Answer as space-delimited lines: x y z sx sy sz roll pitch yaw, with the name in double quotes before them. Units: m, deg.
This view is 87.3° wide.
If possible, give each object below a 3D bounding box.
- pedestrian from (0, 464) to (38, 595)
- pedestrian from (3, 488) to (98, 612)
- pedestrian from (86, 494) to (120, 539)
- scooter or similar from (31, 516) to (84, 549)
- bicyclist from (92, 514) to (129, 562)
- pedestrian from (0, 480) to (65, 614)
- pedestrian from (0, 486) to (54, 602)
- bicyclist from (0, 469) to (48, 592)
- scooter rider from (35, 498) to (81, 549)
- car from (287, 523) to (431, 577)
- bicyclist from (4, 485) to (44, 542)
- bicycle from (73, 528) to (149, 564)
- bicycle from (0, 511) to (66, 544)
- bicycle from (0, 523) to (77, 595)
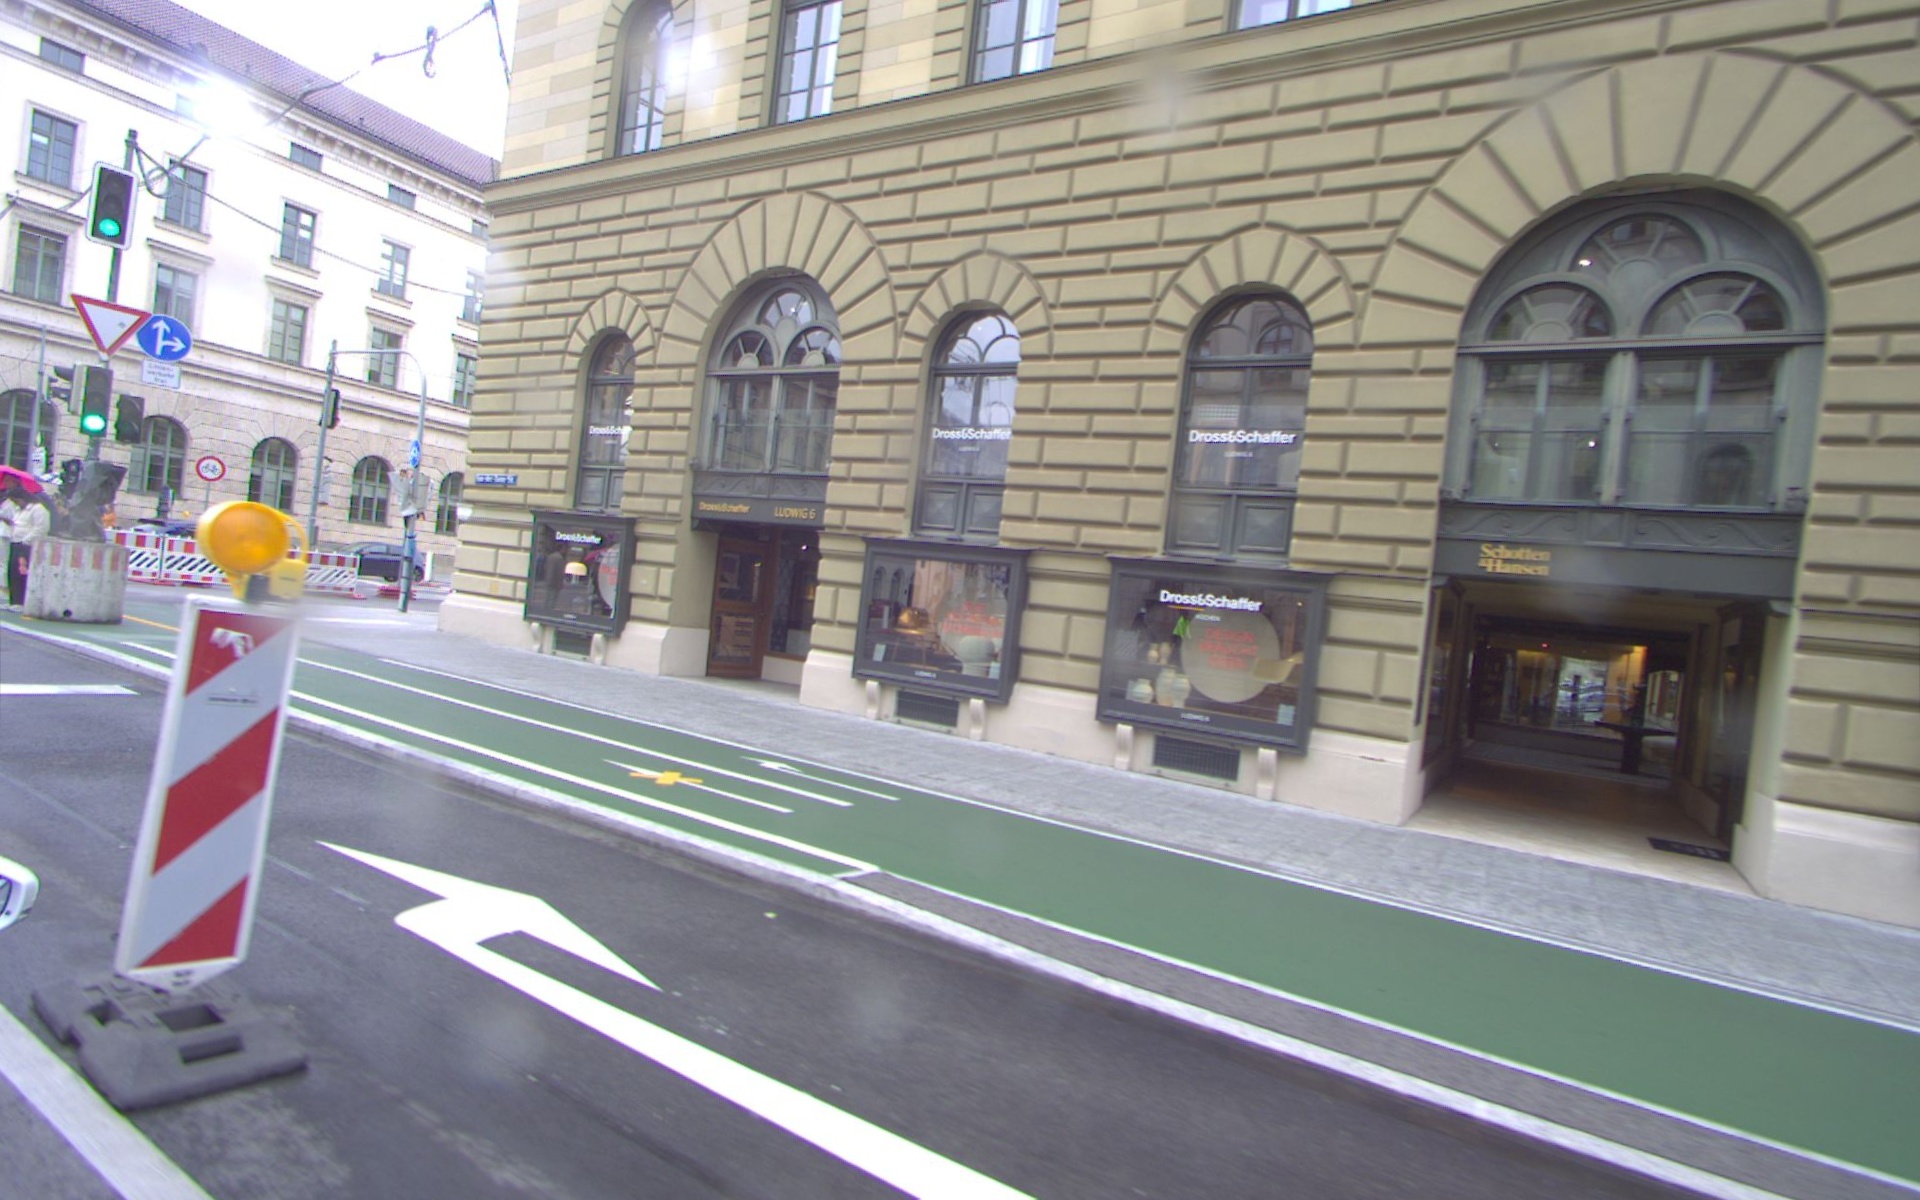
"pedestrian" -14.497 -1.086 15.099 0.631 1.907 0.703 7 0 36
"pedestrian" -12.616 -0.691 13.958 0.671 1.586 0.703 7 0 34
"pedestrian" -34.970 -3.406 41.067 0.806 1.714 0.716 7 0 33
"scooter or similar" -31.820 -2.379 35.464 0.578 0.976 1.212 7 -1 33
"bicyclist" -31.637 -2.295 37.472 0.782 1.634 0.744 7 0 34
"pedestrian" -12.179 -0.684 13.066 0.663 1.639 0.532 7 0 34
"pedestrian" -13.581 -0.814 14.370 0.532 1.586 0.703 7 0 34
"bicyclist" -15.140 -1.110 15.860 0.787 1.876 0.566 7 0 -17
"scooter rider" -31.786 -2.687 35.459 0.583 1.642 0.933 7 0 33
"car" -22.319 -1.823 37.509 1.720 1.404 4.233 5 -2 31
"bicyclist" -32.993 -3.053 35.474 0.650 1.864 0.744 7 0 34
"bicycle" -31.638 -2.002 37.531 0.782 1.053 1.960 7 -1 34
"bicycle" -33.016 -2.566 35.529 0.651 0.890 1.974 7 -1 34
"bicycle" -15.141 -0.699 15.876 1.632 1.023 0.585 8 0 -17
